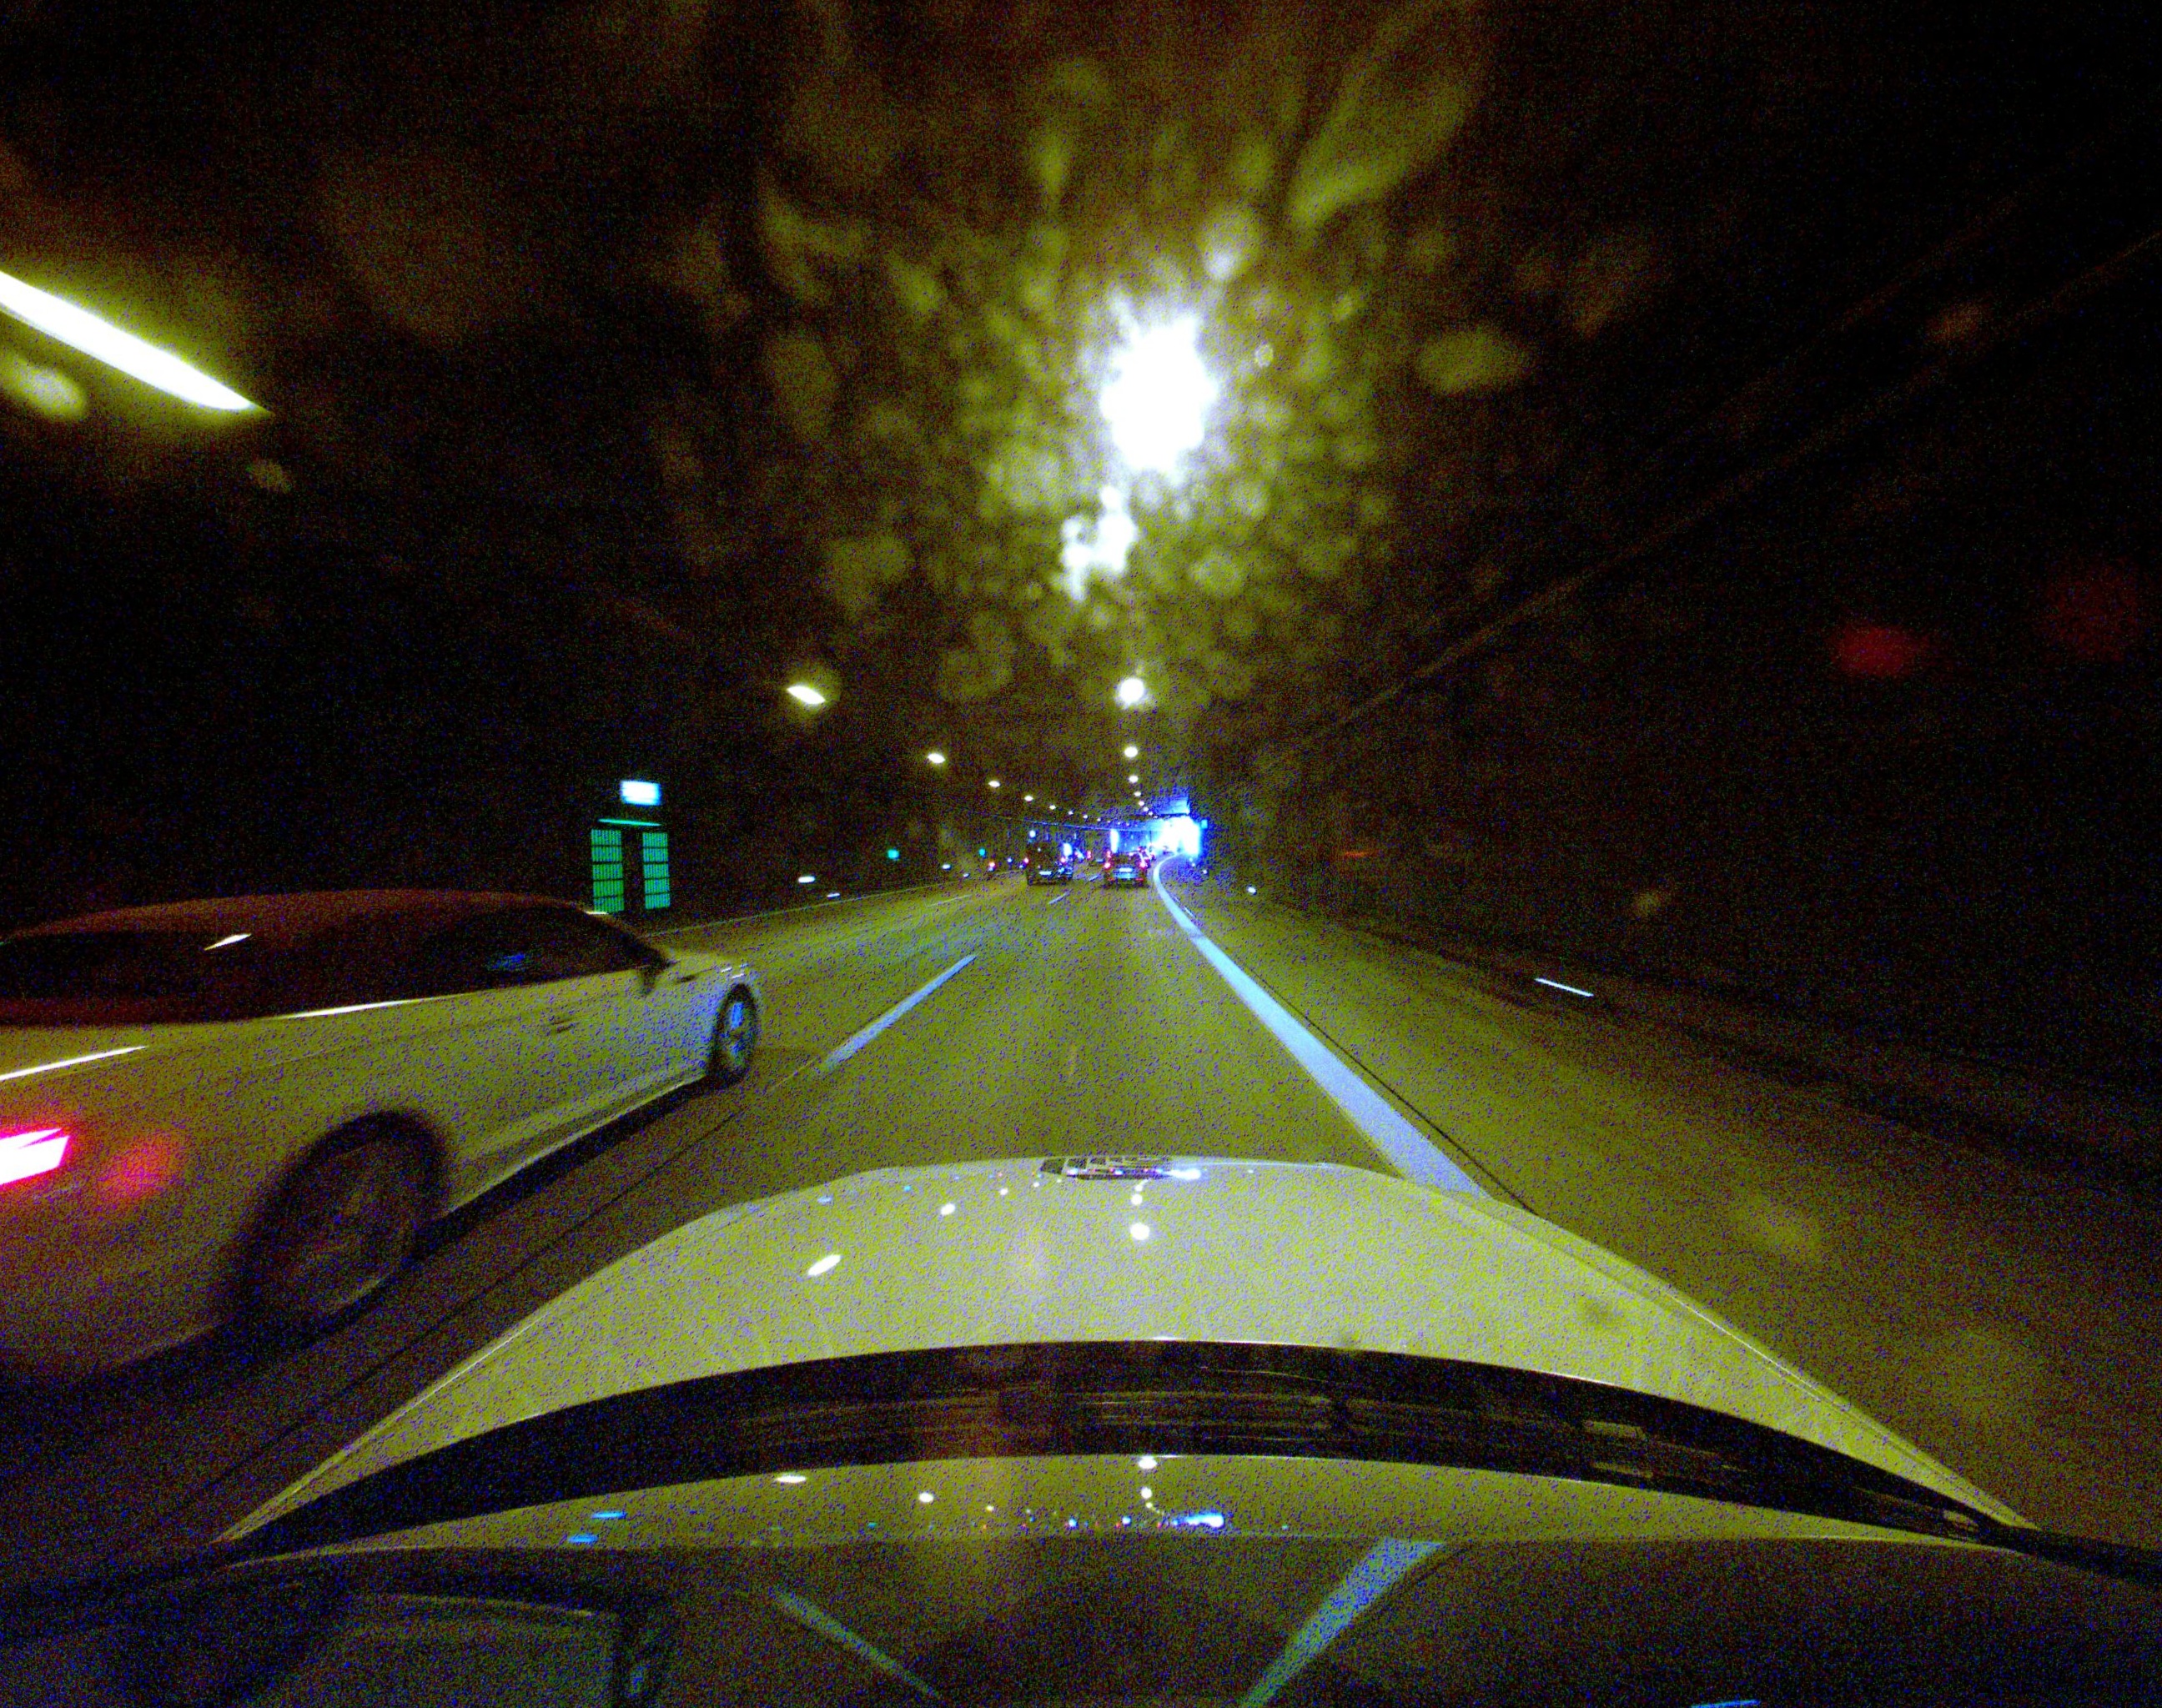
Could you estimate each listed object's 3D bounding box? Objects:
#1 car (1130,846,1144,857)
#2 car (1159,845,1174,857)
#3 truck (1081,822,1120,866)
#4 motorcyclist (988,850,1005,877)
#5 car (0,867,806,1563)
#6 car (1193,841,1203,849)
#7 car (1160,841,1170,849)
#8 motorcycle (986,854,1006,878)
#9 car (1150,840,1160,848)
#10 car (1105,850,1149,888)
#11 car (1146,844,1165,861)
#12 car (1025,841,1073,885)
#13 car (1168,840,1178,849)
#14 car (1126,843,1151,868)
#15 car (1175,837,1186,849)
[{"bbox_3d":[8.781,-0.314,128.140,1.983,1.632,4.007,-1,-1,7],"label":"car"},{"bbox_3d":[13.412,-0.473,127.936,1.924,1.643,4.000,-1,-2,1],"label":"car"},{"bbox_3d":[1.894,-0.886,74.232,3.025,3.673,7.402,-2,0,5],"label":"truck"},{"bbox_3d":[-4.697,0.519,45.206,0.773,1.453,1.070,-1,-2,4],"label":"motorcyclist"},{"bbox_3d":[-3.136,0.832,4.043,1.696,1.419,5.061,-1,0,1],"label":"car"},{"bbox_3d":[26.793,-2.011,186.243,1.918,1.642,4.011,-2,0,10],"label":"car"},{"bbox_3d":[19.745,-2.063,192.405,1.918,1.643,4.012,-1,-2,12],"label":"car"},{"bbox_3d":[-4.694,0.674,45.213,0.680,1.297,2.401,-1,-1,4],"label":"motorcycle"},{"bbox_3d":[15.615,-2.068,172.022,1.919,1.642,4.010,-2,0,9],"label":"car"},{"bbox_3d":[1.941,0.598,34.387,1.735,1.464,3.875,-1,1,3],"label":"car"},{"bbox_3d":[8.038,-0.138,88.012,1.941,1.772,4.004,-1,-2,4],"label":"car"},{"bbox_3d":[-1.464,0.380,38.478,1.902,1.944,3.874,-1,1,2],"label":"car"},{"bbox_3d":[19.633,-1.980,173.714,1.981,1.632,4.011,-1,-2,10],"label":"car"},{"bbox_3d":[4.574,0.098,64.043,1.848,1.854,4.005,-2,0,5],"label":"car"},{"bbox_3d":[18.913,-2.109,155.313,1.984,2.014,4.004,-1,-2,5],"label":"car"}]
